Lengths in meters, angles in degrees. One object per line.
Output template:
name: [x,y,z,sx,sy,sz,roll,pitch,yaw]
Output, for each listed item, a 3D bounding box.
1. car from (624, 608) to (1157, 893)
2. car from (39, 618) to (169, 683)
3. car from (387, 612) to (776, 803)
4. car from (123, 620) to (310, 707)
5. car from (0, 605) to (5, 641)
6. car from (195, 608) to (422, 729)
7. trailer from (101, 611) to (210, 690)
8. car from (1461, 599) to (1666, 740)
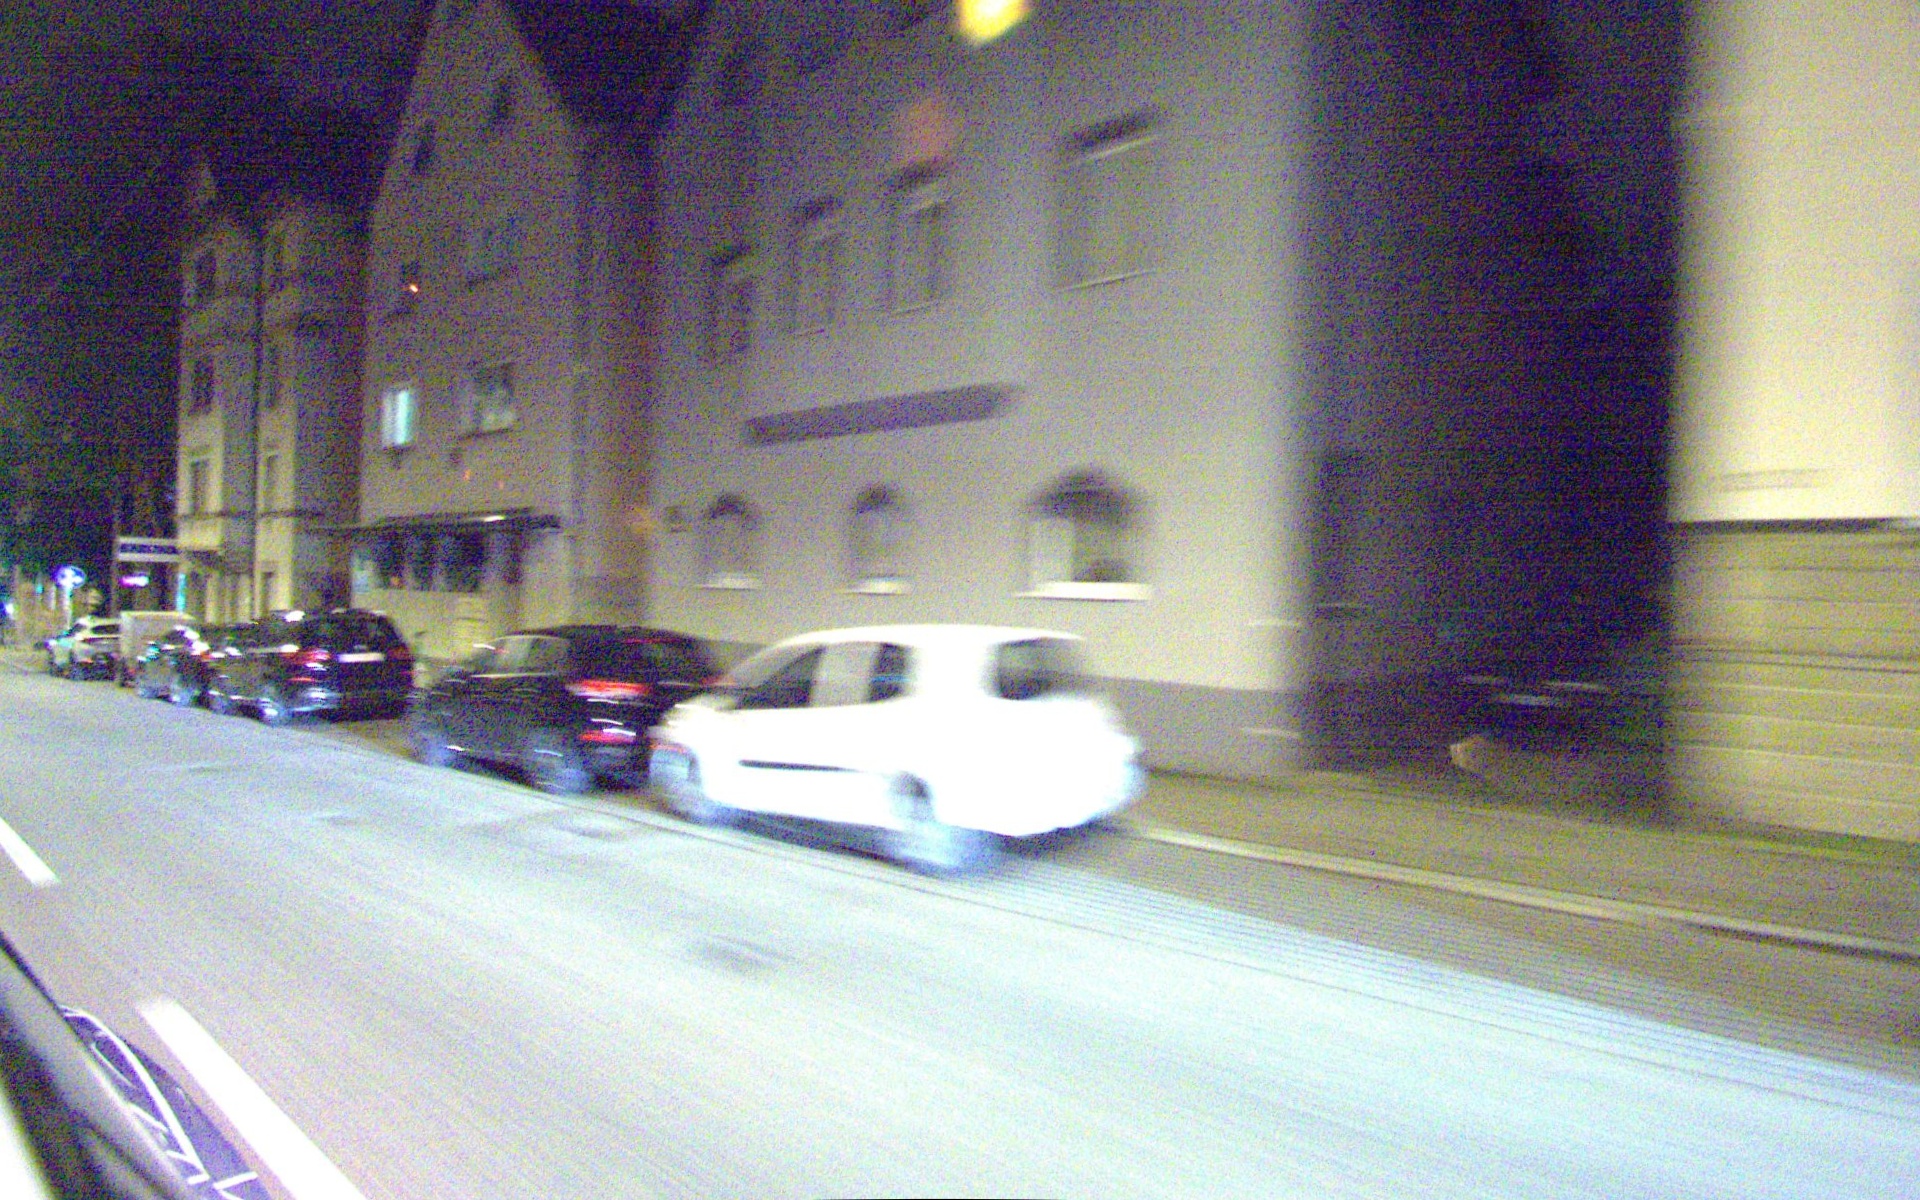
car: [-0.652,0.820,7.252,3.778,1.503,1.605,0,0,40]
car: [-22.052,1.232,26.021,4.343,1.495,1.796,-1,-1,39]
car: [-3.965,0.891,10.250,4.277,1.503,1.845,0,0,40]
car: [-14.156,1.123,19.174,4.540,1.458,1.816,-1,-2,40]
car: [-46.317,1.082,47.245,4.664,1.663,1.831,-1,-1,38]
car: [-10.274,0.957,15.820,4.542,1.631,1.816,-1,-1,41]
trailer: [-18.637,1.088,23.390,1.619,1.652,3.441,0,0,-45]
car: [7.864,0.765,13.037,1.737,1.498,3.752,2,1,39]
